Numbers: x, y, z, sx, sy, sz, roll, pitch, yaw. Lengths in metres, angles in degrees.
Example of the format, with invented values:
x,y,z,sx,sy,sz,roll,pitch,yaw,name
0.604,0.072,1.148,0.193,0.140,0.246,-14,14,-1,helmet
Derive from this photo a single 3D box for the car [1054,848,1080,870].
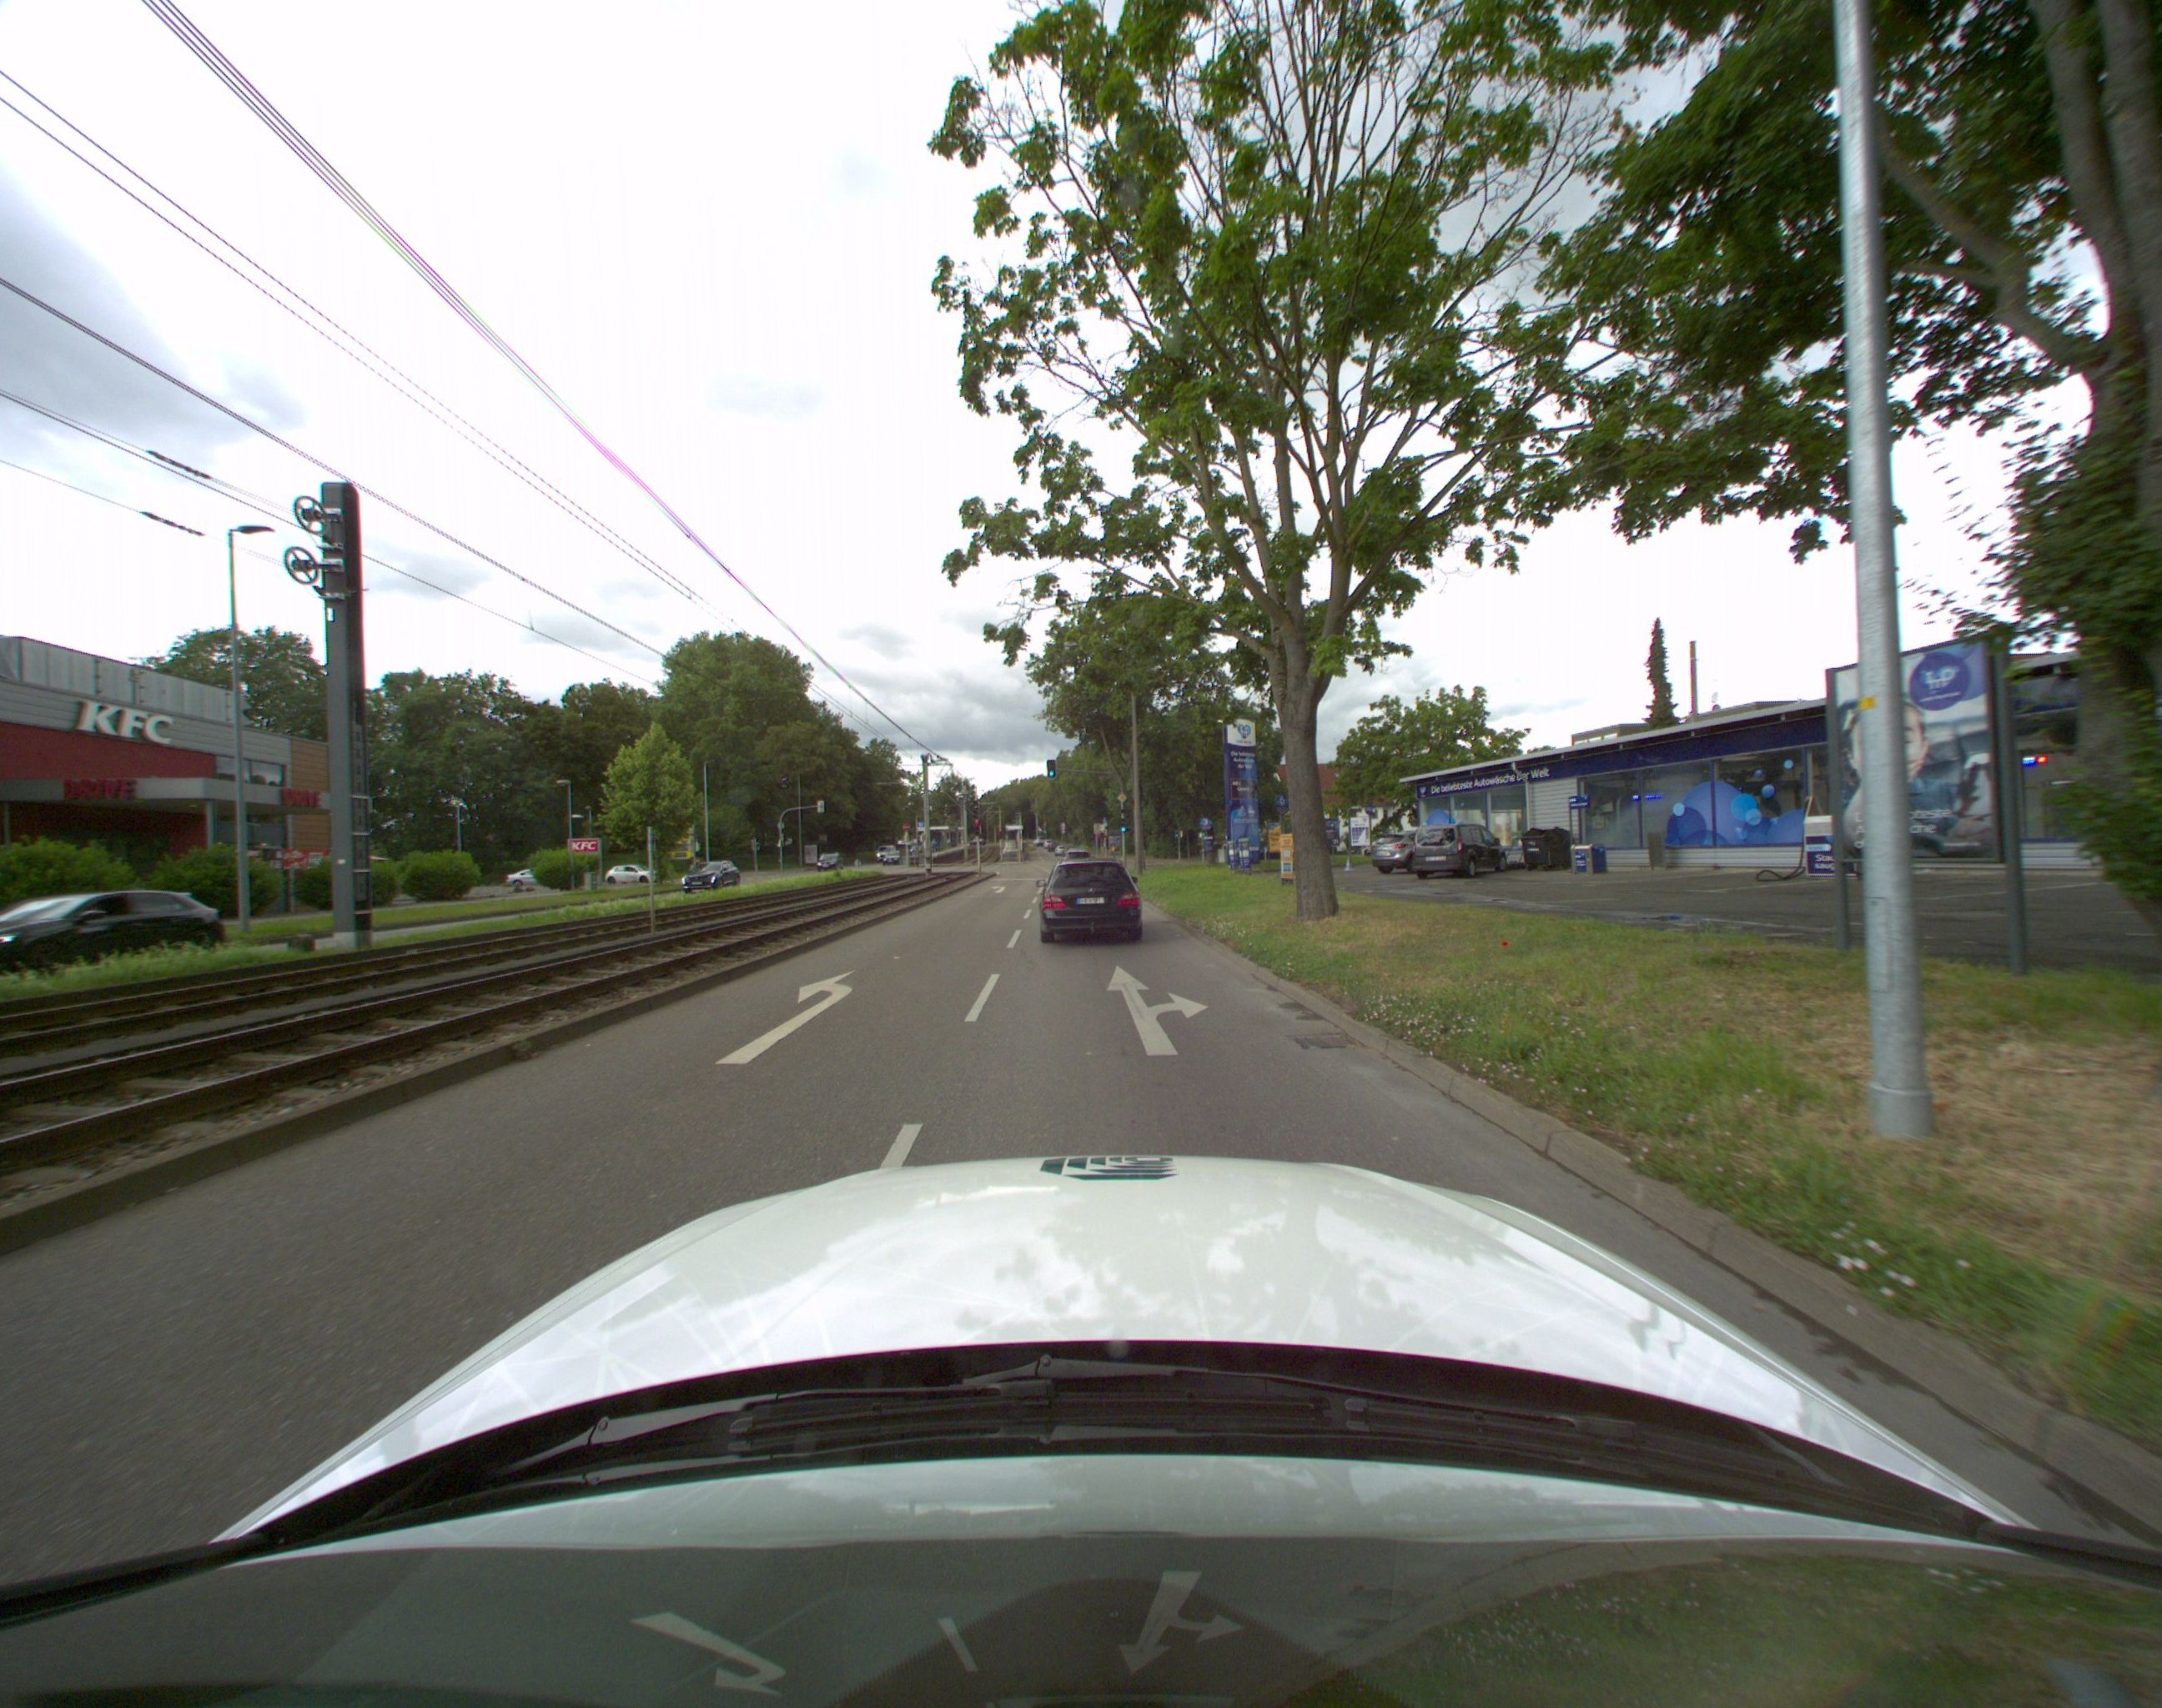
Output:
x,y,z,sx,sy,sz,roll,pitch,yaw,name
-1.027,0.366,61.498,1.775,1.648,4.001,1,0,1,car

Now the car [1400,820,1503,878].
x,y,z,sx,sy,sz,roll,pitch,yaw,name
12.834,-0.213,28.065,4.410,1.821,1.729,-3,0,-45,car

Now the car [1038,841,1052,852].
x,y,z,sx,sy,sz,roll,pitch,yaw,name
-6.253,-1.286,142.047,1.993,2.013,3.987,1,0,-9,car

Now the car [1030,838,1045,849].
x,y,z,sx,sy,sz,roll,pitch,yaw,name
-8.332,-2.039,156.447,1.998,2.013,3.977,1,0,-17,car

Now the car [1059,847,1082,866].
x,y,z,sx,sy,sz,roll,pitch,yaw,name
-1.129,0.232,82.448,1.991,1.918,3.992,1,0,-5,car

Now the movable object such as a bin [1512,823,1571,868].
x,y,z,sx,sy,sz,roll,pitch,yaw,name
15.805,-0.290,28.005,1.157,1.474,1.385,-2,0,-6,movable object such as a bin

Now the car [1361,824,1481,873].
x,y,z,sx,sy,sz,roll,pitch,yaw,name
13.368,-0.241,32.056,4.213,1.697,1.828,-3,1,-20,car

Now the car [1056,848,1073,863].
x,y,z,sx,sy,sz,roll,pitch,yaw,name
-2.122,0.198,103.916,1.991,1.893,3.992,1,0,-5,car

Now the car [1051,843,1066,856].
x,y,z,sx,sy,sz,roll,pitch,yaw,name
-3.486,-0.682,124.993,1.991,1.966,3.992,1,0,-5,car

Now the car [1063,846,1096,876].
x,y,z,sx,sy,sz,roll,pitch,yaw,name
-0.059,0.381,46.138,1.775,1.648,4.001,1,0,1,car

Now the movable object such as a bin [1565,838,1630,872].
x,y,z,sx,sy,sz,roll,pitch,yaw,name
15.772,0.030,24.901,1.157,0.976,1.186,-2,0,-6,movable object such as a bin

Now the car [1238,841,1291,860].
x,y,z,sx,sy,sz,roll,pitch,yaw,name
15.598,-0.304,69.252,4.134,1.526,1.706,-2,0,3,car

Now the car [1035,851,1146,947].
x,y,z,sx,sy,sz,roll,pitch,yaw,name
0.070,0.730,15.327,1.778,1.525,3.996,-1,0,-3,car
